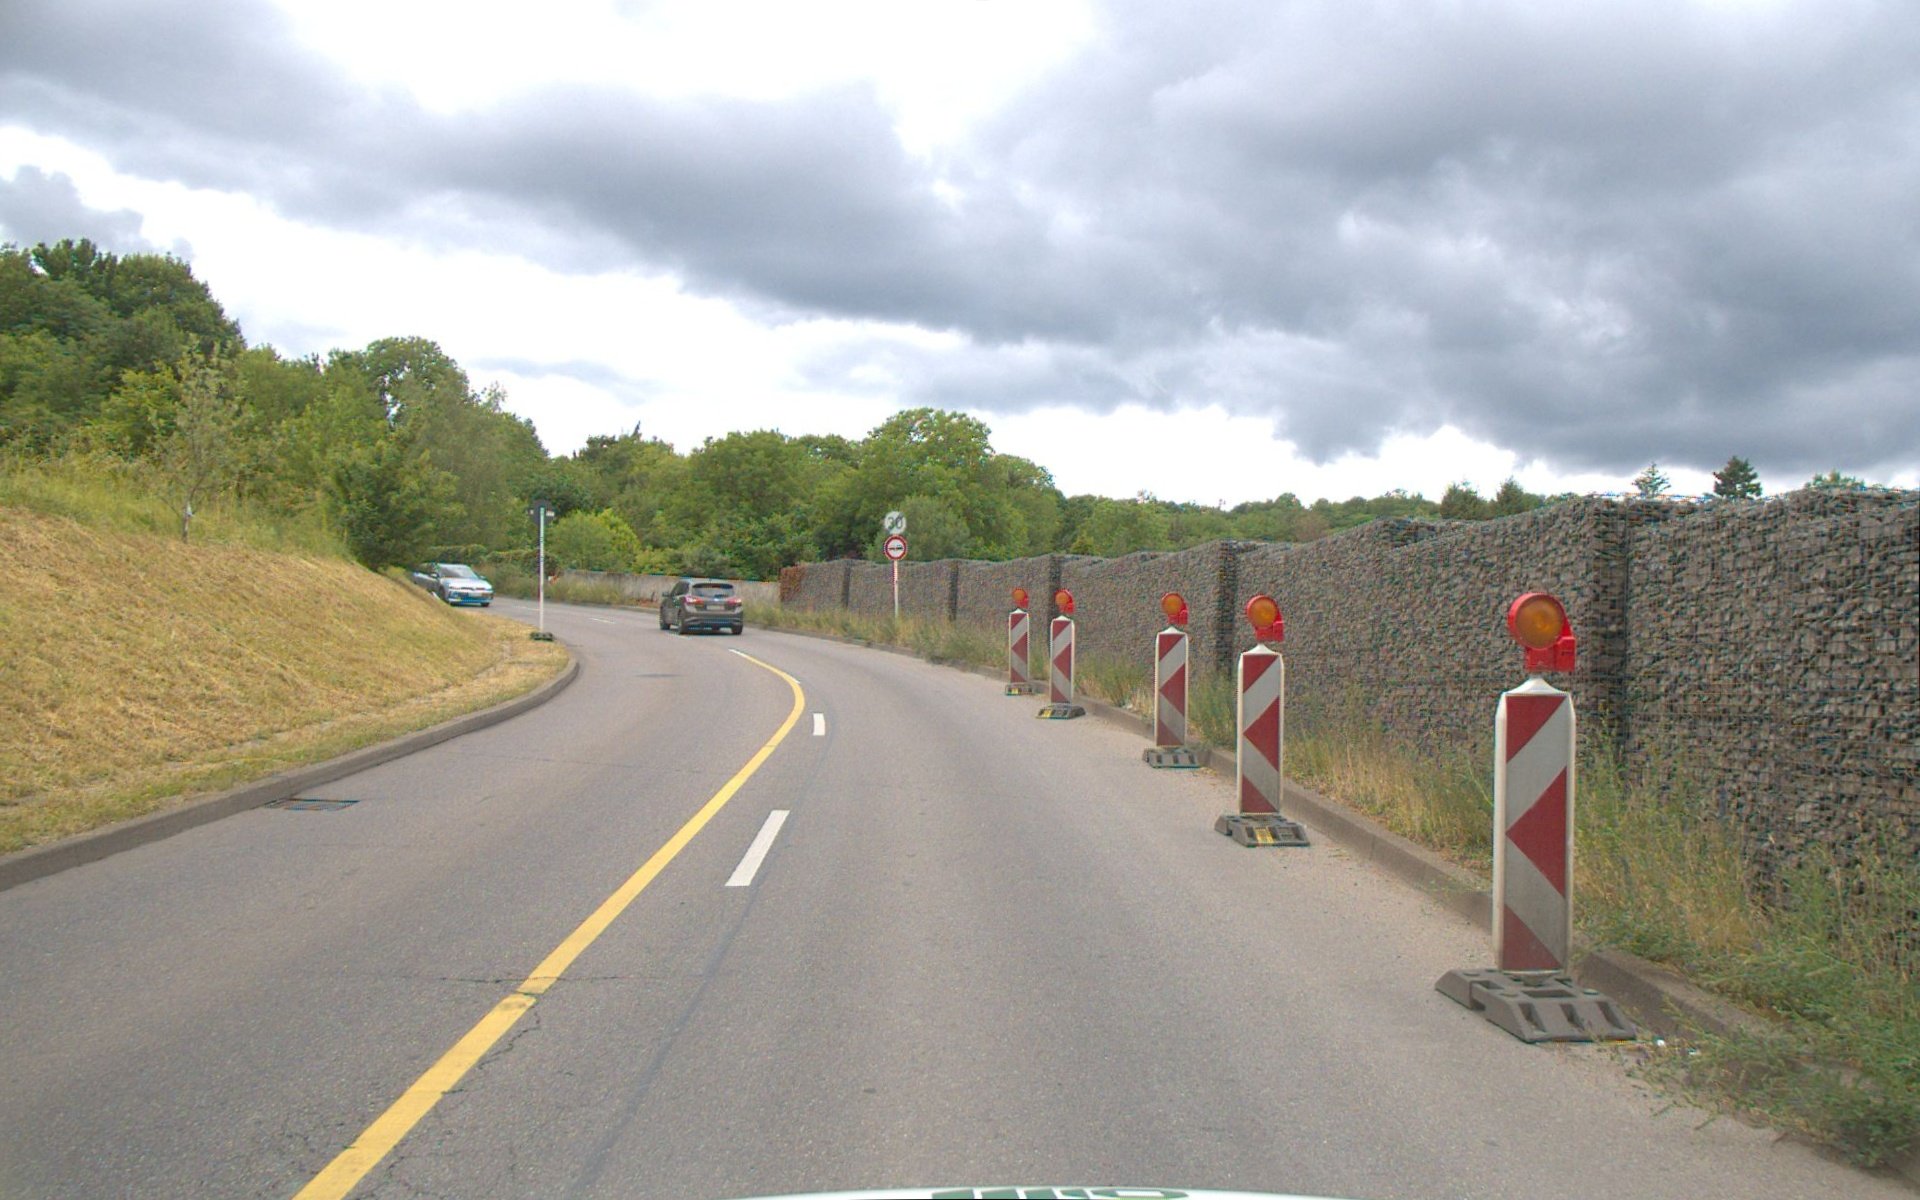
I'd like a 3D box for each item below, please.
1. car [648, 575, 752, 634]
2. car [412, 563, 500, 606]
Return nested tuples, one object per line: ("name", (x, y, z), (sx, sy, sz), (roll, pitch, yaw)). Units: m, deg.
("car", (-7.441, 0.097, 47.063), (1.817, 1.509, 3.967), (0, 2, -26))
("car", (-18.815, -0.605, 61.608), (1.866, 1.503, 4.546), (-1, 2, -35))
